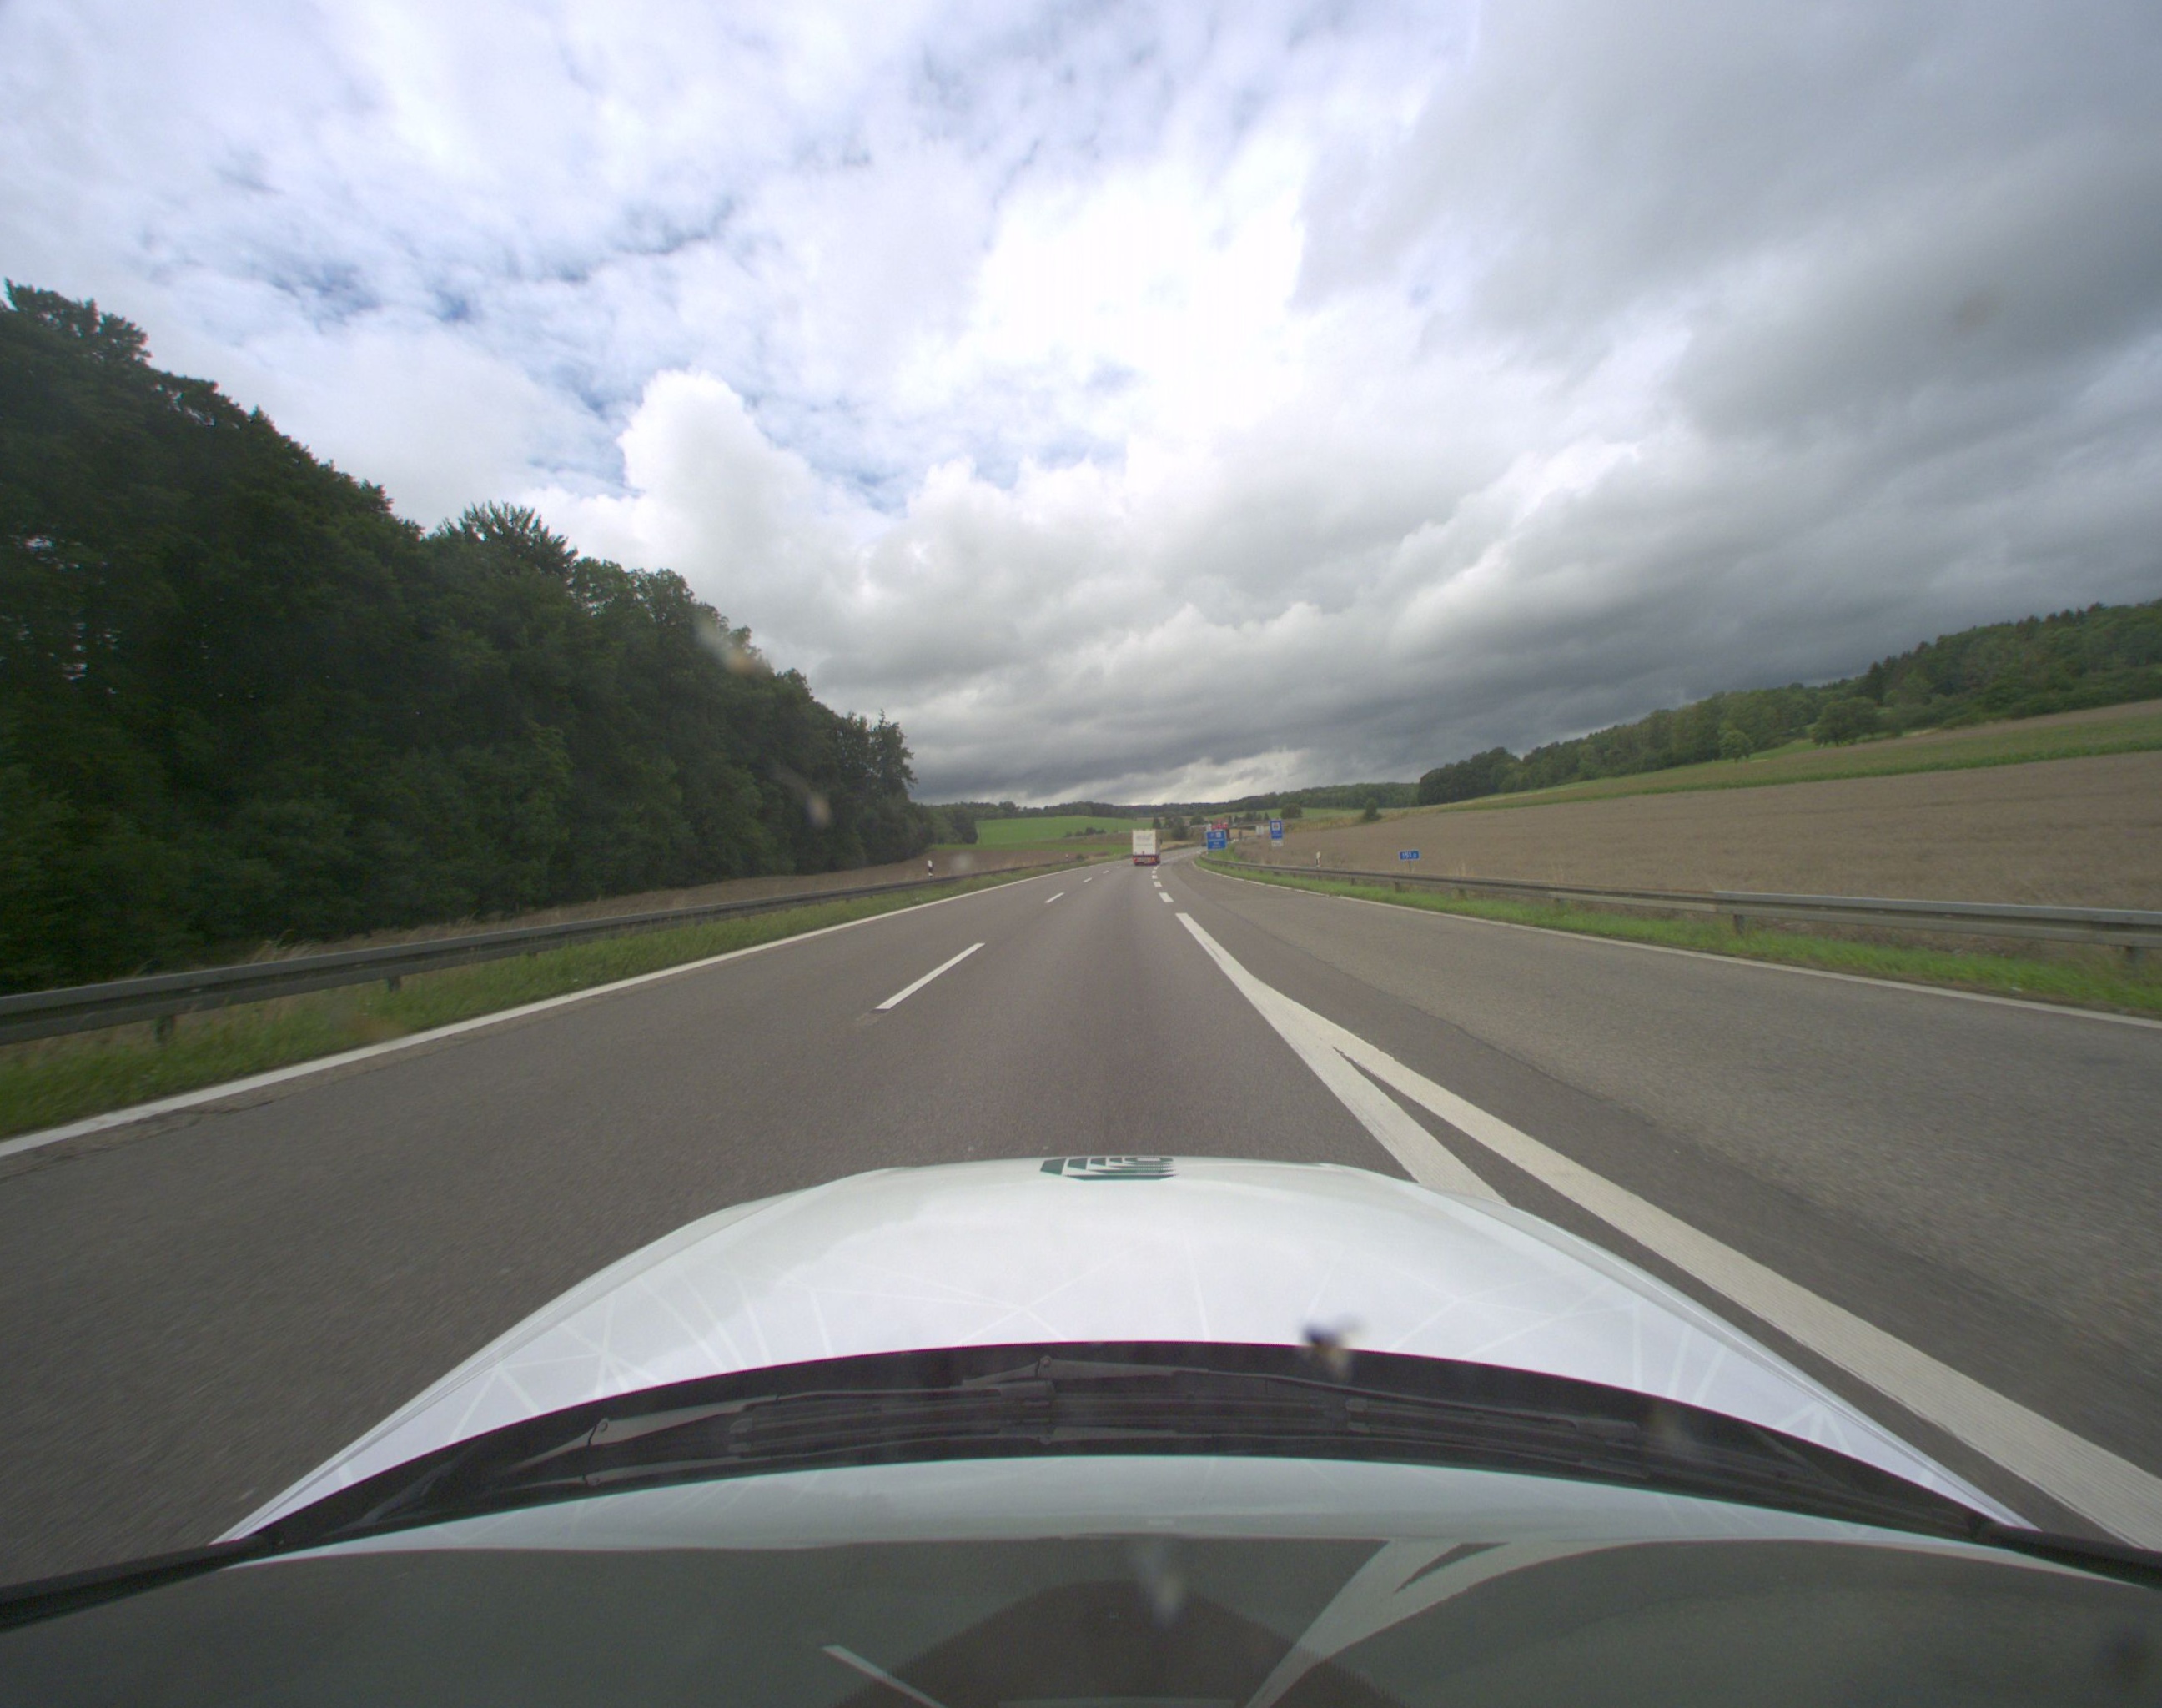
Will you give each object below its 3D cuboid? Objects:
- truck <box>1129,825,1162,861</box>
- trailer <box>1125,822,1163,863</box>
[{"bbox_3d":[7.926,-1.306,100.086,3.770,4.132,8.275,-2,0,5],"label":"truck"},{"bbox_3d":[7.301,-1.287,93.380,3.787,4.174,14.830,-3,0,5],"label":"trailer"}]
